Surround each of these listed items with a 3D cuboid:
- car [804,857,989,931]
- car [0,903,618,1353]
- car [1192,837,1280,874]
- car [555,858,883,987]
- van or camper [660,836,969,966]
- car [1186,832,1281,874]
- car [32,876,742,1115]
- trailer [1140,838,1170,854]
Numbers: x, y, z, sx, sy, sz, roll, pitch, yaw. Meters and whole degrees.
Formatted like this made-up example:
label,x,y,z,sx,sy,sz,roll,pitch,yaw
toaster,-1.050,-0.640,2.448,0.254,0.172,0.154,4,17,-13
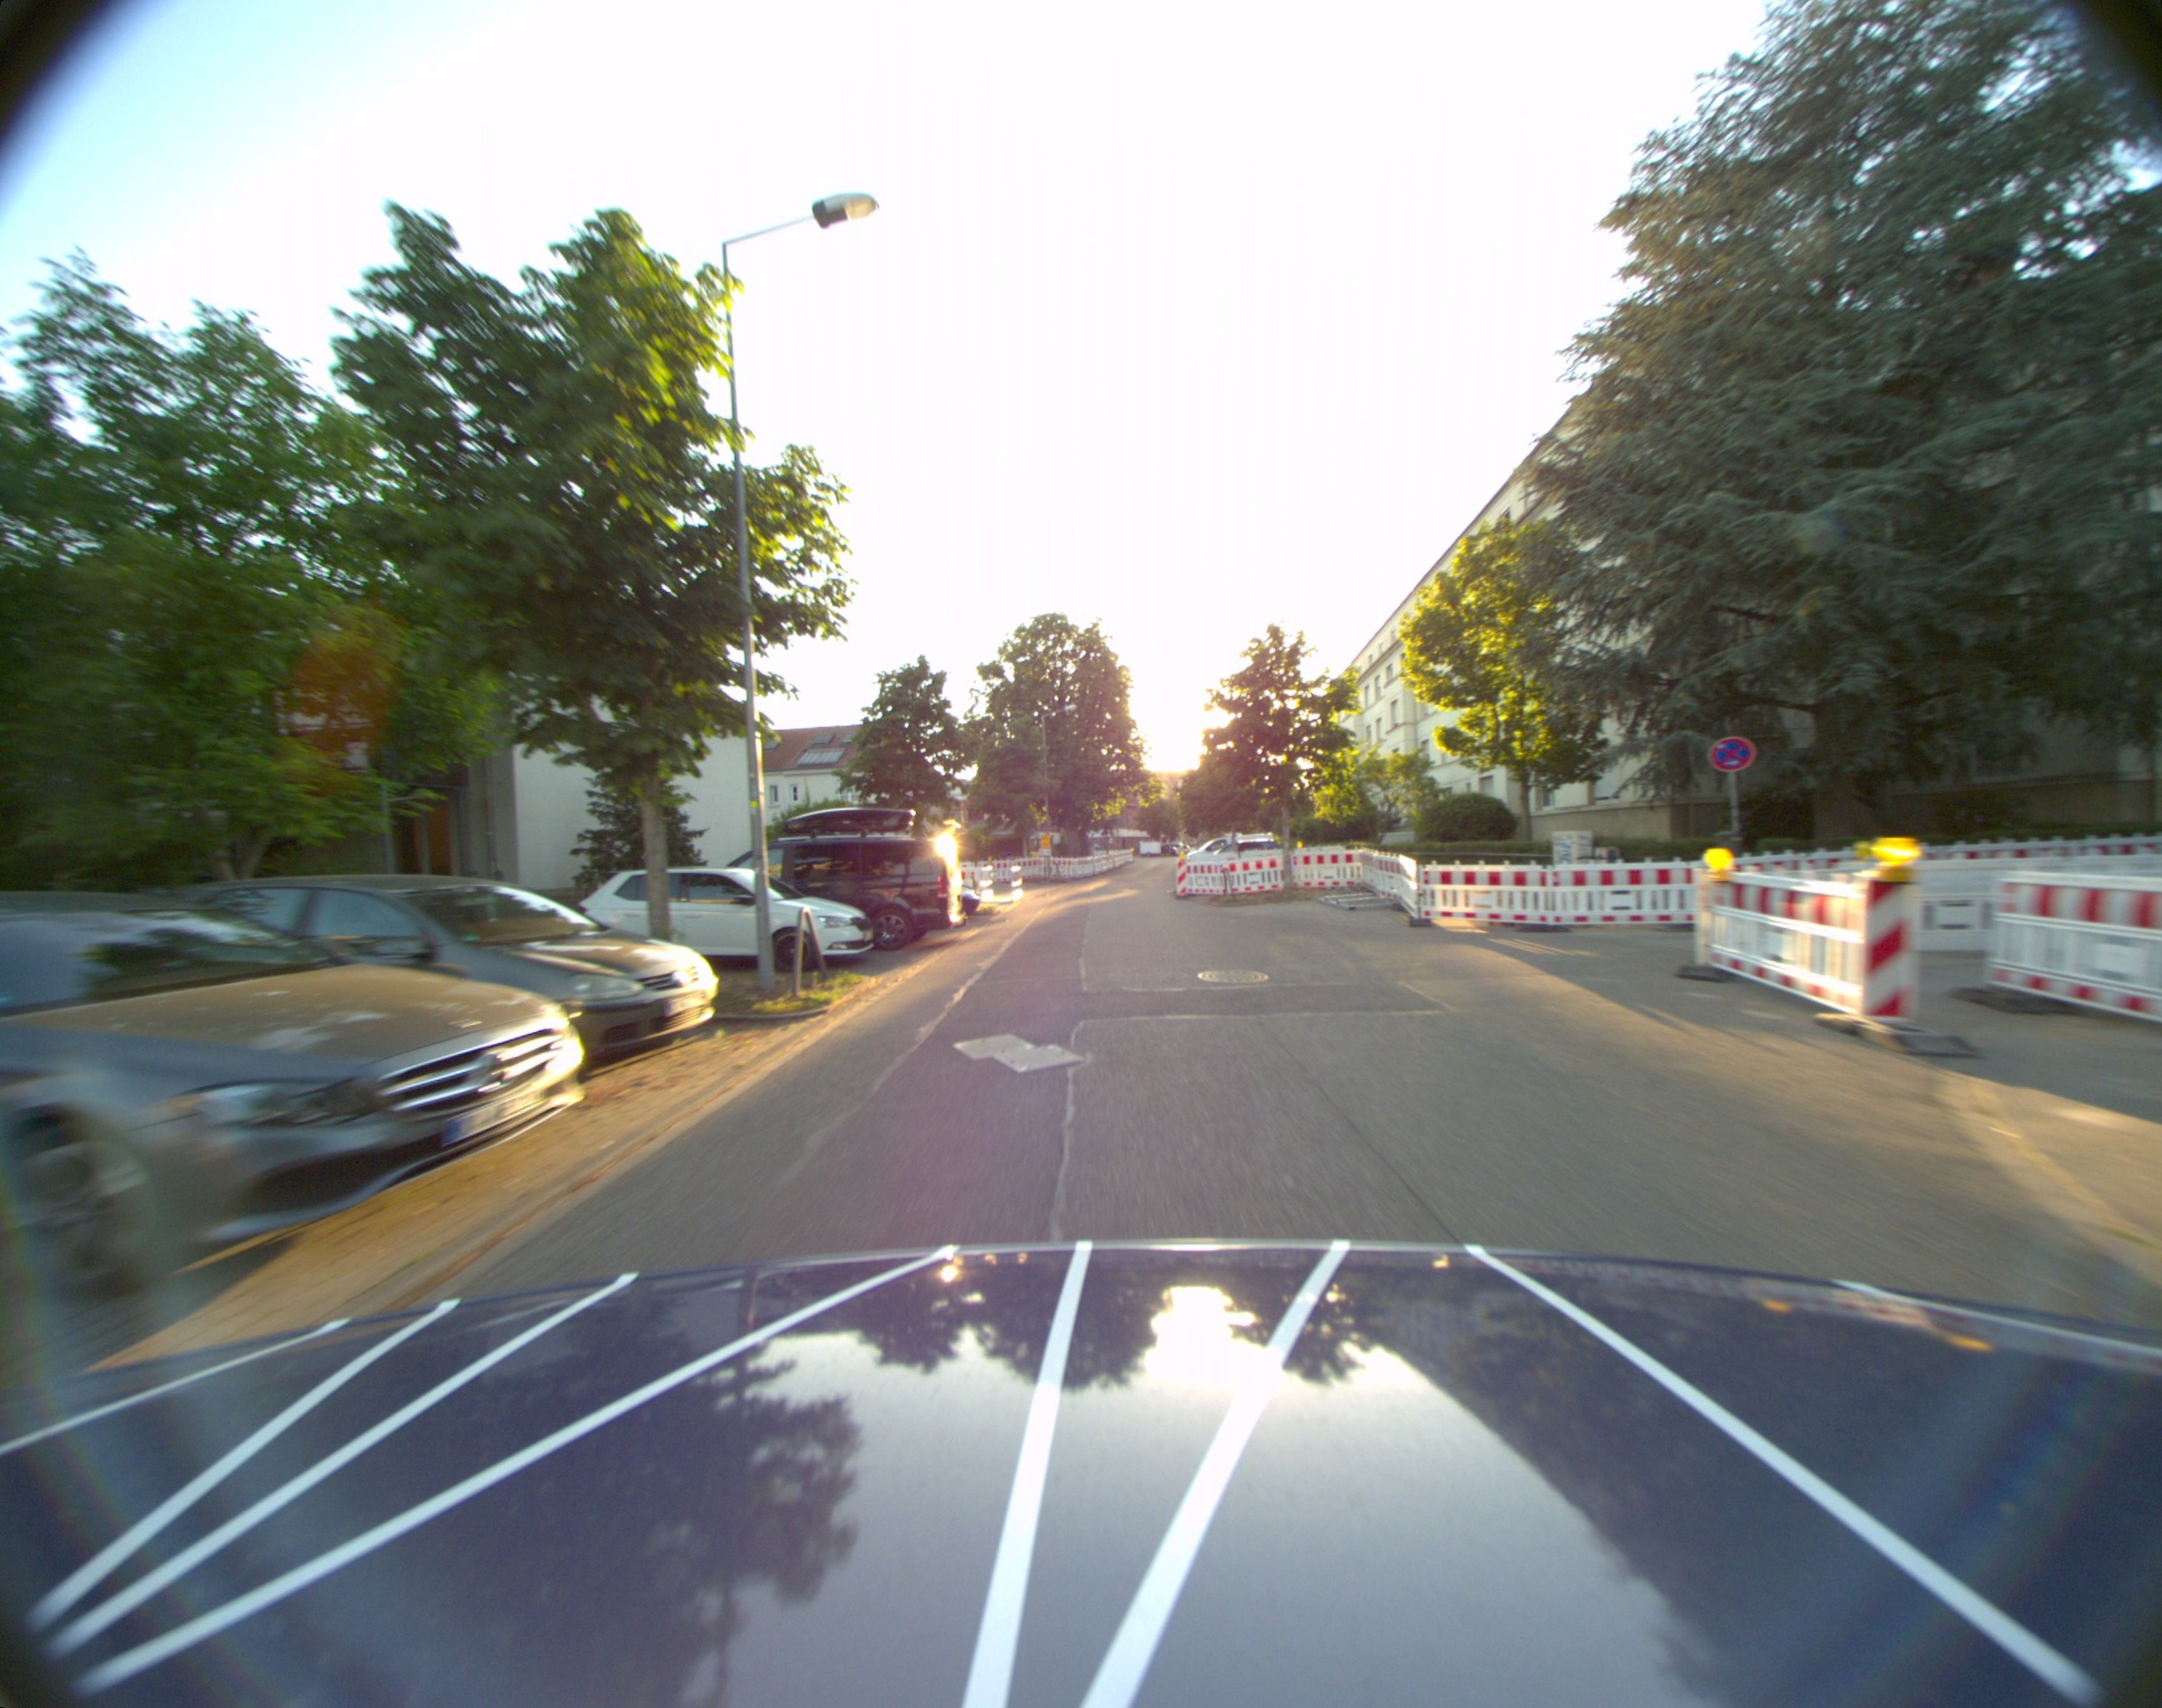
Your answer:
label,x,y,z,sx,sy,sz,roll,pitch,yaw
car,-4.424,0.931,18.615,3.996,1.551,1.793,-2,1,2
car,-5.100,1.010,3.535,4.829,1.390,1.770,-1,1,3
car,7.699,0.070,38.084,4.129,1.674,2.001,-2,1,6
car,-5.000,0.915,10.858,3.842,1.535,1.629,-2,1,0
van or camper,-4.482,0.750,13.444,4.659,1.942,2.094,-2,1,-1
car,8.132,-0.063,40.792,4.785,2.058,2.001,-2,1,6
car,-5.096,0.974,5.959,4.064,1.493,1.770,-1,1,4
trailer,10.053,-1.119,103.459,3.682,2.057,2.002,-3,1,15
